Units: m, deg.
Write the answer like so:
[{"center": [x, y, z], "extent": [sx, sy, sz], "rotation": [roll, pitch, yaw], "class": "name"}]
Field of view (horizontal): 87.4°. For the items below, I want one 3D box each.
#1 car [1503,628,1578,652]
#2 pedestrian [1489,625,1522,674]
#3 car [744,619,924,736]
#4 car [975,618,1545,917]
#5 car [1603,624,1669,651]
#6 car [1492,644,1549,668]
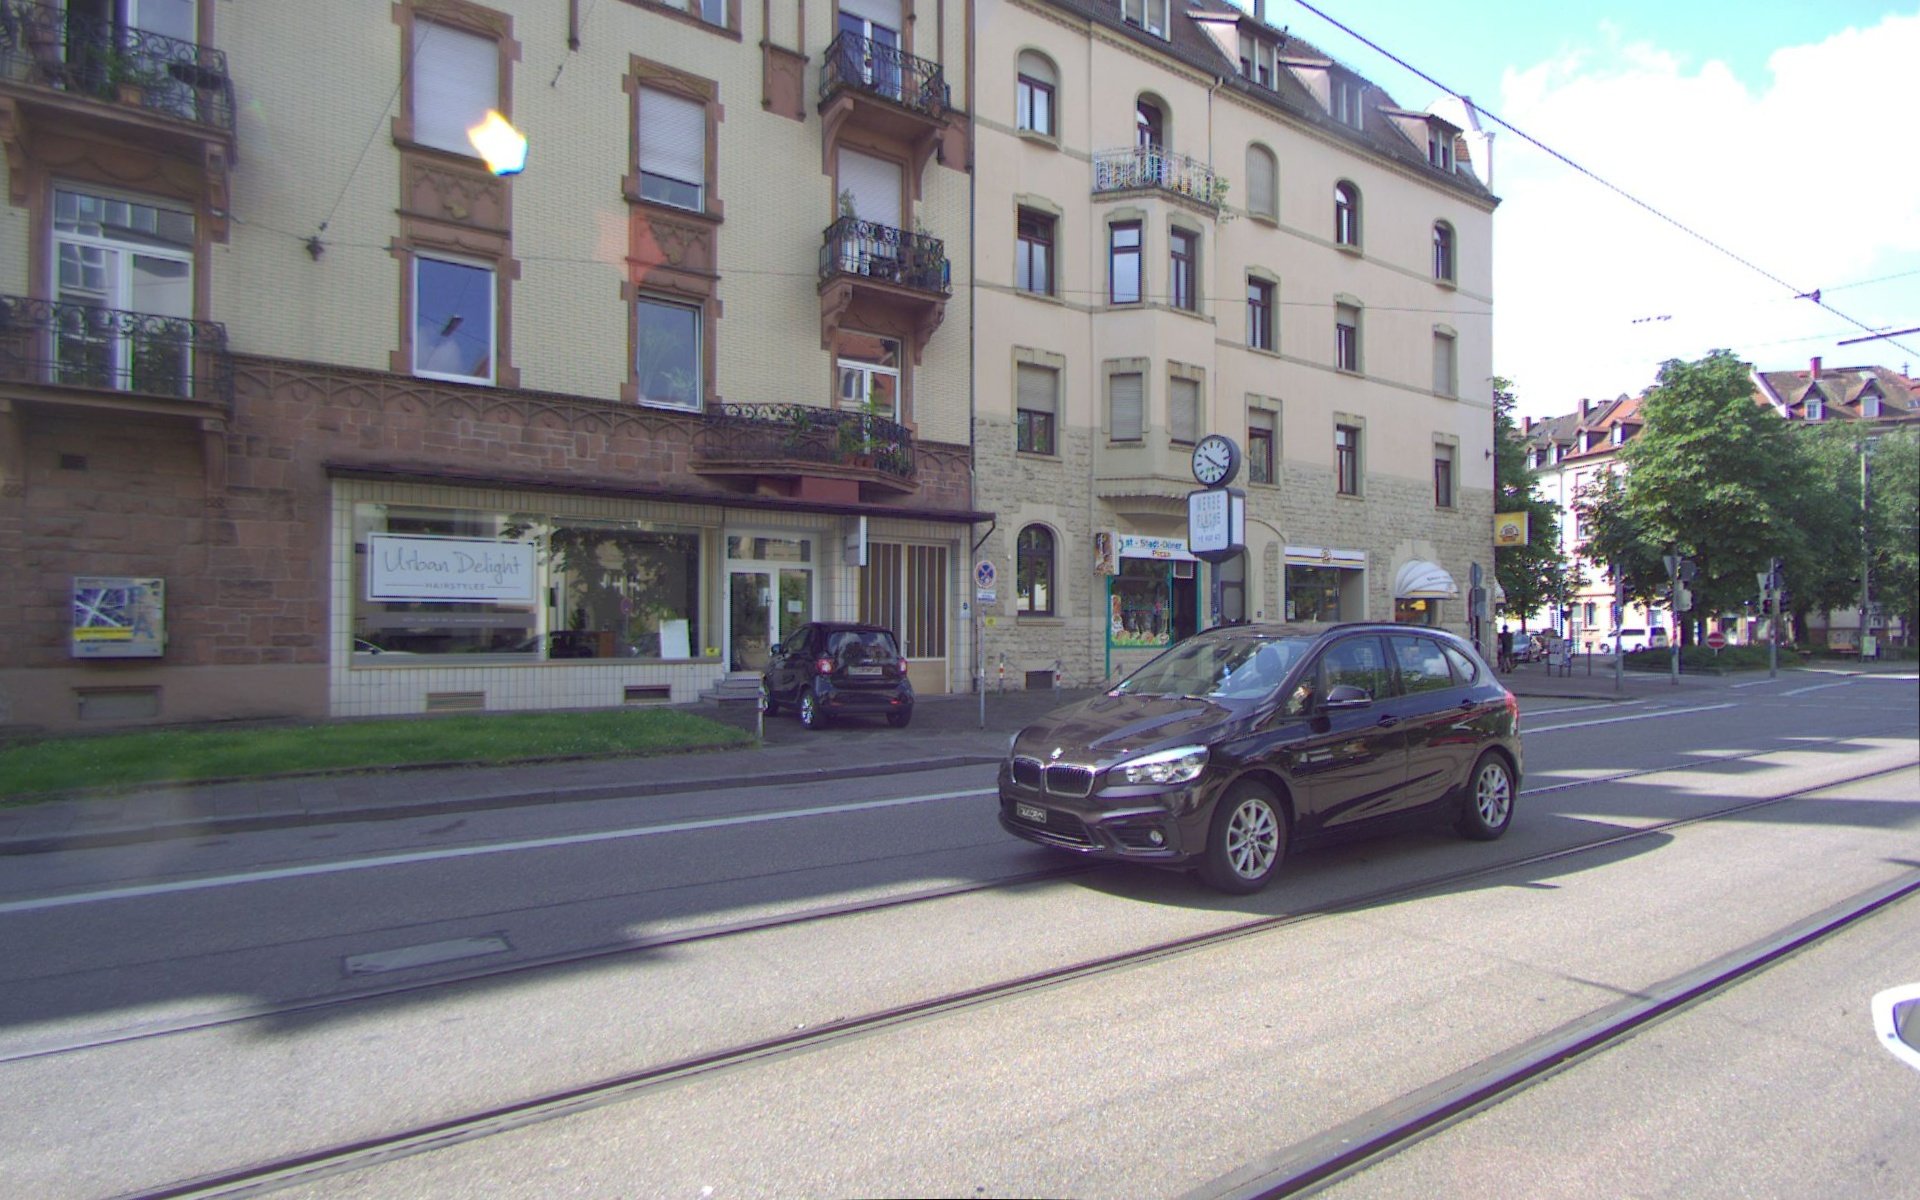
[{"center": [39.655, 2.701, 68.694], "extent": [1.976, 1.617, 3.970], "rotation": [1, -2, -29], "class": "car"}, {"center": [19.111, 1.734, 35.179], "extent": [0.690, 1.706, 0.750], "rotation": [1, -2, -21], "class": "pedestrian"}, {"center": [-2.070, 1.121, 15.836], "extent": [1.716, 1.505, 3.162], "rotation": [1, 1, -30], "class": "car"}, {"center": [2.235, 0.923, 7.079], "extent": [4.028, 1.538, 1.744], "rotation": [1, -2, -35], "class": "car"}, {"center": [50.148, 2.765, 74.612], "extent": [1.962, 1.929, 3.997], "rotation": [0, -2, -5], "class": "car"}, {"center": [29.740, 2.944, 53.237], "extent": [1.656, 1.198, 3.975], "rotation": [-1, -2, 44], "class": "car"}]
